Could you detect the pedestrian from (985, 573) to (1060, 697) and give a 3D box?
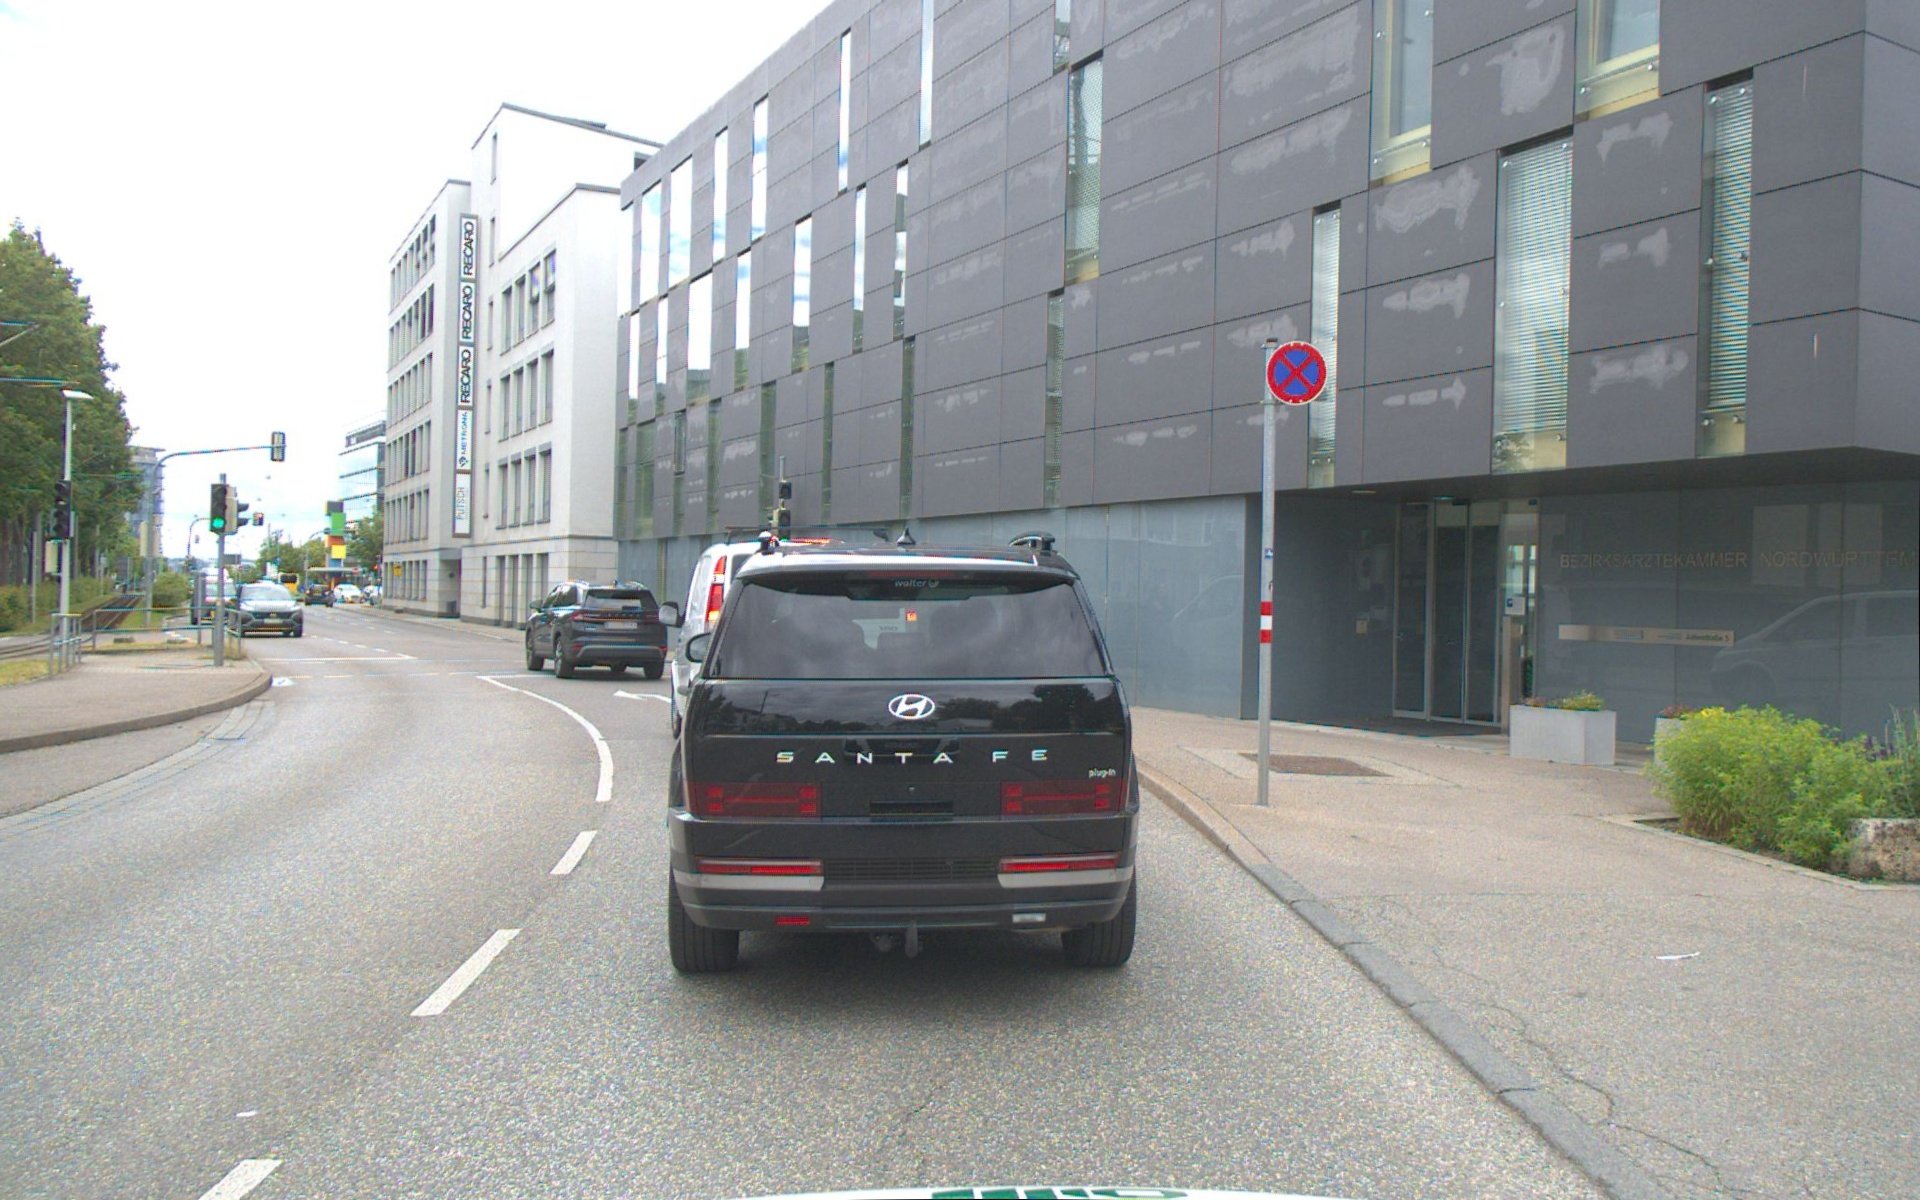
[{"bbox_3d":[0.891,0.492,23.594,0.703,1.724,0.858,2,-1,-26],"label":"pedestrian"}]

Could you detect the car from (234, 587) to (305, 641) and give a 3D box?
[{"bbox_3d":[-20.564,0.394,49.184,1.746,1.504,3.968,-1,0,-25],"label":"car"}]

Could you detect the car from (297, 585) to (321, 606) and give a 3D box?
[{"bbox_3d":[-53.308,-0.358,135.370,1.735,1.637,4.159,1,0,-23],"label":"car"}]

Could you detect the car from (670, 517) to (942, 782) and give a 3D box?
[{"bbox_3d":[-1.569,0.384,15.117,1.898,2.029,4.520,1,0,-13],"label":"car"}]

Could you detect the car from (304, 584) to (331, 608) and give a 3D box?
[{"bbox_3d":[-46.208,-0.294,118.919,1.735,1.637,4.159,1,0,-23],"label":"car"}]

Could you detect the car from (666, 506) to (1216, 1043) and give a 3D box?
[{"bbox_3d":[-0.301,0.572,7.790,1.872,1.780,4.390,0,0,-7],"label":"car"}]

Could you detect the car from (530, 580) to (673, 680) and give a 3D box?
[{"bbox_3d":[-6.420,0.486,29.293,1.735,1.637,4.159,1,0,-23],"label":"car"}]

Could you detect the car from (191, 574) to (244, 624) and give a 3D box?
[{"bbox_3d":[-28.762,-0.045,64.039,1.661,1.840,4.313,-1,0,-27],"label":"car"}]

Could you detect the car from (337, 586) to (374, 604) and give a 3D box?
[{"bbox_3d":[-51.208,-0.429,140.064,1.978,1.529,3.949,1,0,-36],"label":"car"}]
